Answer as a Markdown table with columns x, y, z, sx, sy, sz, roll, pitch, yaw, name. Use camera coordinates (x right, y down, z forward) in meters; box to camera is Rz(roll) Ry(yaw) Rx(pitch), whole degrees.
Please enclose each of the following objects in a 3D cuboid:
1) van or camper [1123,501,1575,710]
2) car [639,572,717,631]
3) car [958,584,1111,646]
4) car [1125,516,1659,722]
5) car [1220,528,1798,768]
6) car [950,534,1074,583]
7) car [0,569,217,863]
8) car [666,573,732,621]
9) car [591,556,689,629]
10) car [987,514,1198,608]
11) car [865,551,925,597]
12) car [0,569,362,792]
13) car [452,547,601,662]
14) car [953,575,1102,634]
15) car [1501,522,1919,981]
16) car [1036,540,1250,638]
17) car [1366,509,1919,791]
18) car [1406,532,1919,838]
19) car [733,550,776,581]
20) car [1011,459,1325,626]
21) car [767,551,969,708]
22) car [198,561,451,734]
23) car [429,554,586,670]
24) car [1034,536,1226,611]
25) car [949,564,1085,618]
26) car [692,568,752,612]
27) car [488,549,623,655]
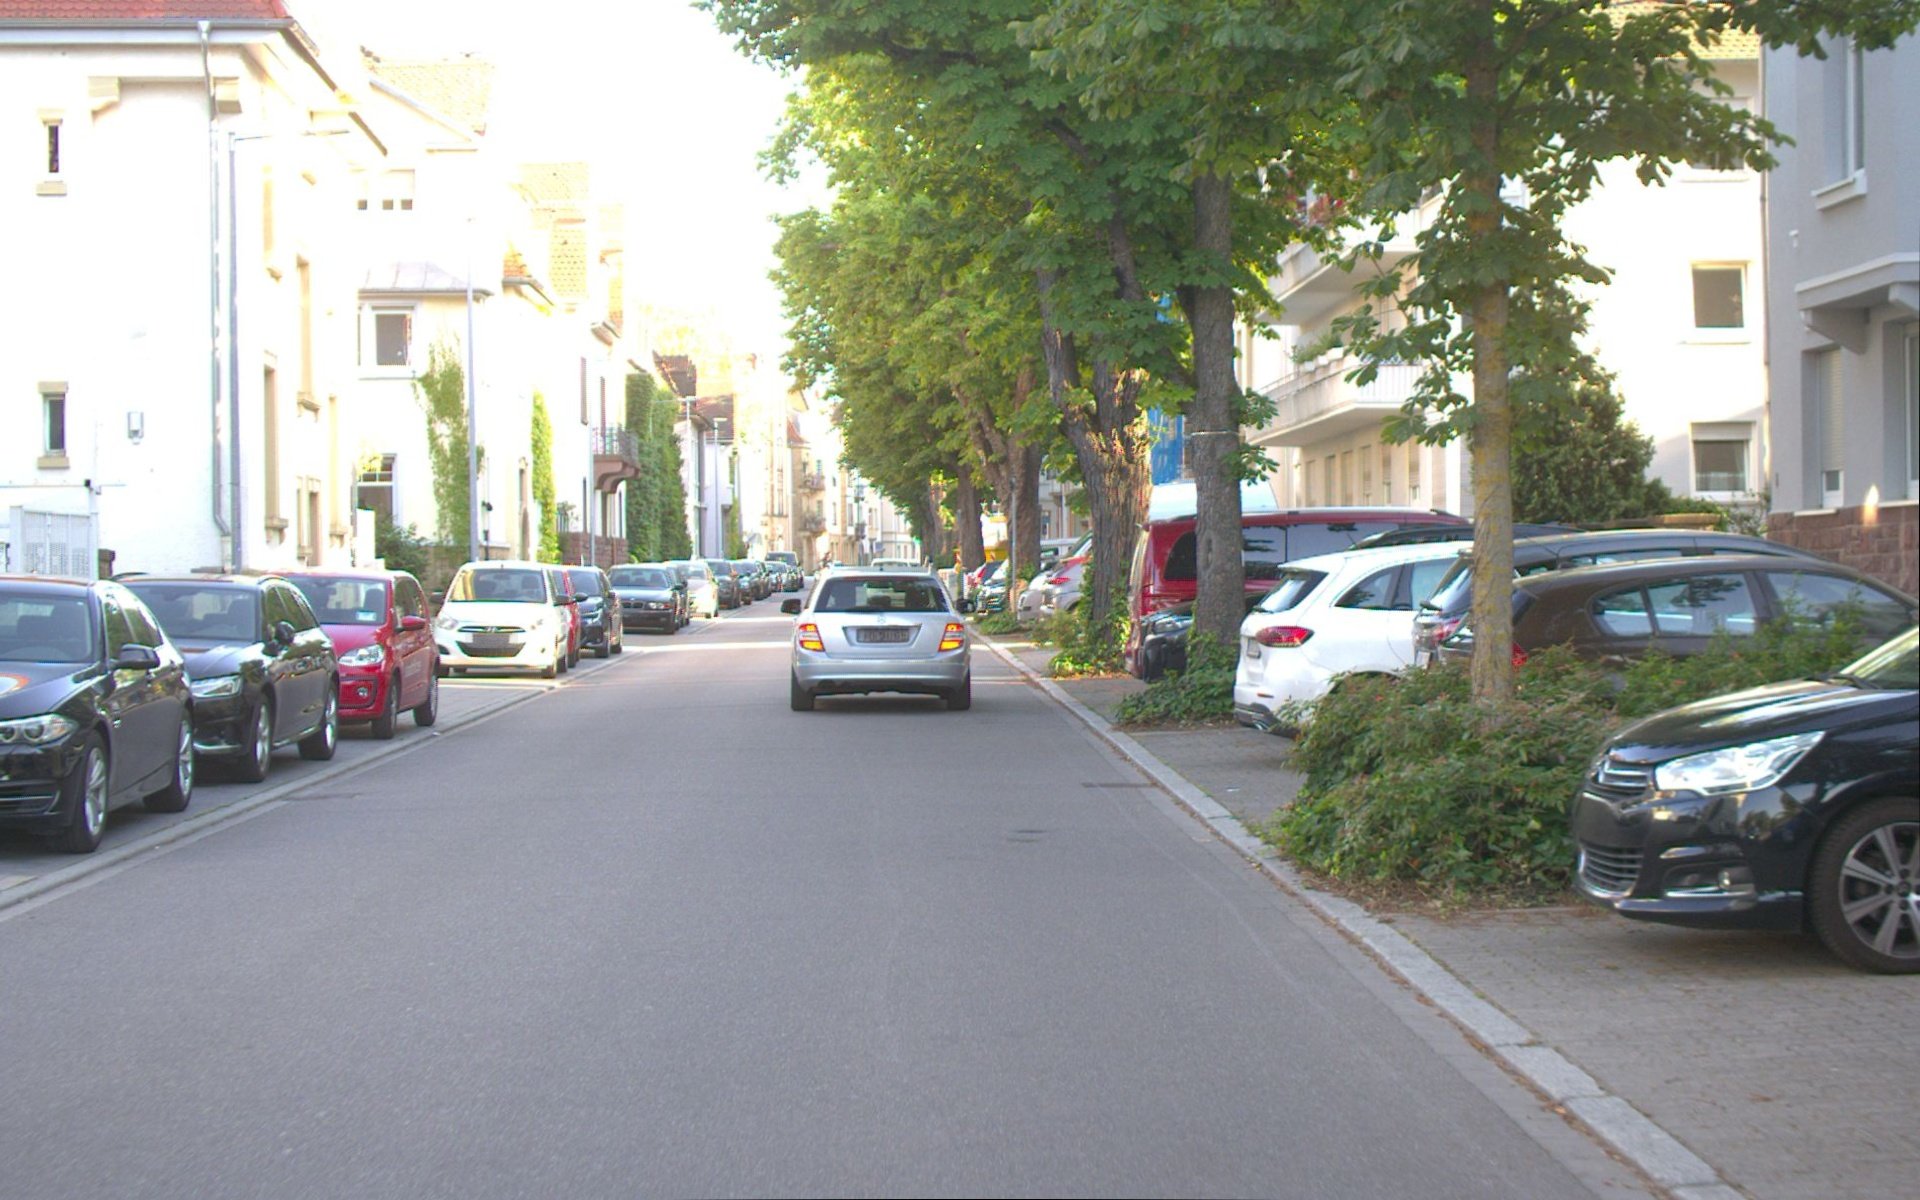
| x | y | z | sx | sy | sz | roll | pitch | yaw | name |
| --- | --- | --- | --- | --- | --- | --- | --- | --- | --- |
| 3.793 | 0.037 | 34.132 | 4.313 | 2.007 | 2.000 | 0 | 1 | 2 | van or camper |
| -7.337 | 0.017 | 89.786 | 1.799 | 1.477 | 3.857 | 0 | 1 | -1 | car |
| 1.881 | 0.372 | 87.872 | 3.844 | 1.477 | 1.805 | -1 | 1 | 0 | car |
| 3.892 | 0.154 | 31.564 | 4.625 | 1.830 | 1.954 | 0 | 1 | -1 | car |
| 3.800 | 0.314 | 24.208 | 3.730 | 1.553 | 1.725 | -1 | 1 | -2 | car |
| 1.611 | -1.302 | 107.971 | 3.844 | 1.477 | 1.805 | -1 | 1 | 0 | car |
| -5.553 | 0.578 | 19.762 | 1.854 | 1.492 | 4.656 | 0 | 0 | -4 | car |
| -7.871 | -0.108 | 103.795 | 1.799 | 1.382 | 3.606 | 0 | 1 | -1 | car |
| -6.787 | -0.185 | 73.241 | 1.799 | 1.477 | 3.857 | 0 | 1 | -1 | car |
| 2.928 | -0.881 | 76.902 | 4.518 | 2.007 | 2.251 | -1 | 1 | -3 | car |
| -2.171 | -0.860 | 115.484 | 1.817 | 1.468 | 4.216 | -1 | 0 | 1 | car |
| -5.705 | 0.528 | 25.475 | 1.783 | 1.492 | 4.700 | 0 | 0 | -1 | car |
| -6.394 | 0.081 | 51.035 | 1.799 | 1.639 | 3.857 | 0 | -1 | -1 | car |
| 1.761 | 0.108 | 90.511 | 3.844 | 1.477 | 1.805 | -1 | 1 | 0 | car |
| 4.290 | 0.477 | 12.785 | 4.190 | 1.553 | 1.874 | -1 | 1 | -2 | car |
| 3.213 | -0.206 | 60.816 | 3.594 | 1.654 | 1.650 | -1 | 1 | -3 | car |
| 4.472 | 0.287 | 21.692 | 3.547 | 1.648 | 1.725 | -1 | 1 | -2 | car |
| 4.544 | 0.427 | 19.014 | 3.925 | 1.553 | 1.725 | -1 | 1 | 1 | car |
| -9.245 | -1.565 | 155.116 | 1.799 | 1.382 | 3.606 | 0 | 1 | -1 | car |
| 3.815 | -1.072 | 63.862 | 5.541 | 2.958 | 2.472 | -1 | 1 | -3 | car |
| -0.873 | 0.281 | 34.771 | 1.817 | 1.468 | 4.216 | -1 | 0 | 1 | car |
| -5.715 | 0.396 | 31.300 | 1.659 | 1.483 | 3.754 | 0 | 0 | -1 | car |
| -6.032 | 0.146 | 46.186 | 1.659 | 1.494 | 3.754 | 0 | 0 | -1 | car |
| 3.487 | -0.555 | 71.003 | 3.844 | 1.477 | 1.805 | -1 | 1 | 0 | car |
| 1.606 | -0.269 | 98.627 | 3.844 | 1.477 | 1.805 | -1 | 1 | 0 | car |
| -7.849 | -0.345 | 113.524 | 1.799 | 1.382 | 3.606 | 0 | 1 | -1 | car |
| -6.487 | 0.000 | 55.451 | 1.799 | 1.639 | 3.857 | 0 | 1 | -1 | car |
